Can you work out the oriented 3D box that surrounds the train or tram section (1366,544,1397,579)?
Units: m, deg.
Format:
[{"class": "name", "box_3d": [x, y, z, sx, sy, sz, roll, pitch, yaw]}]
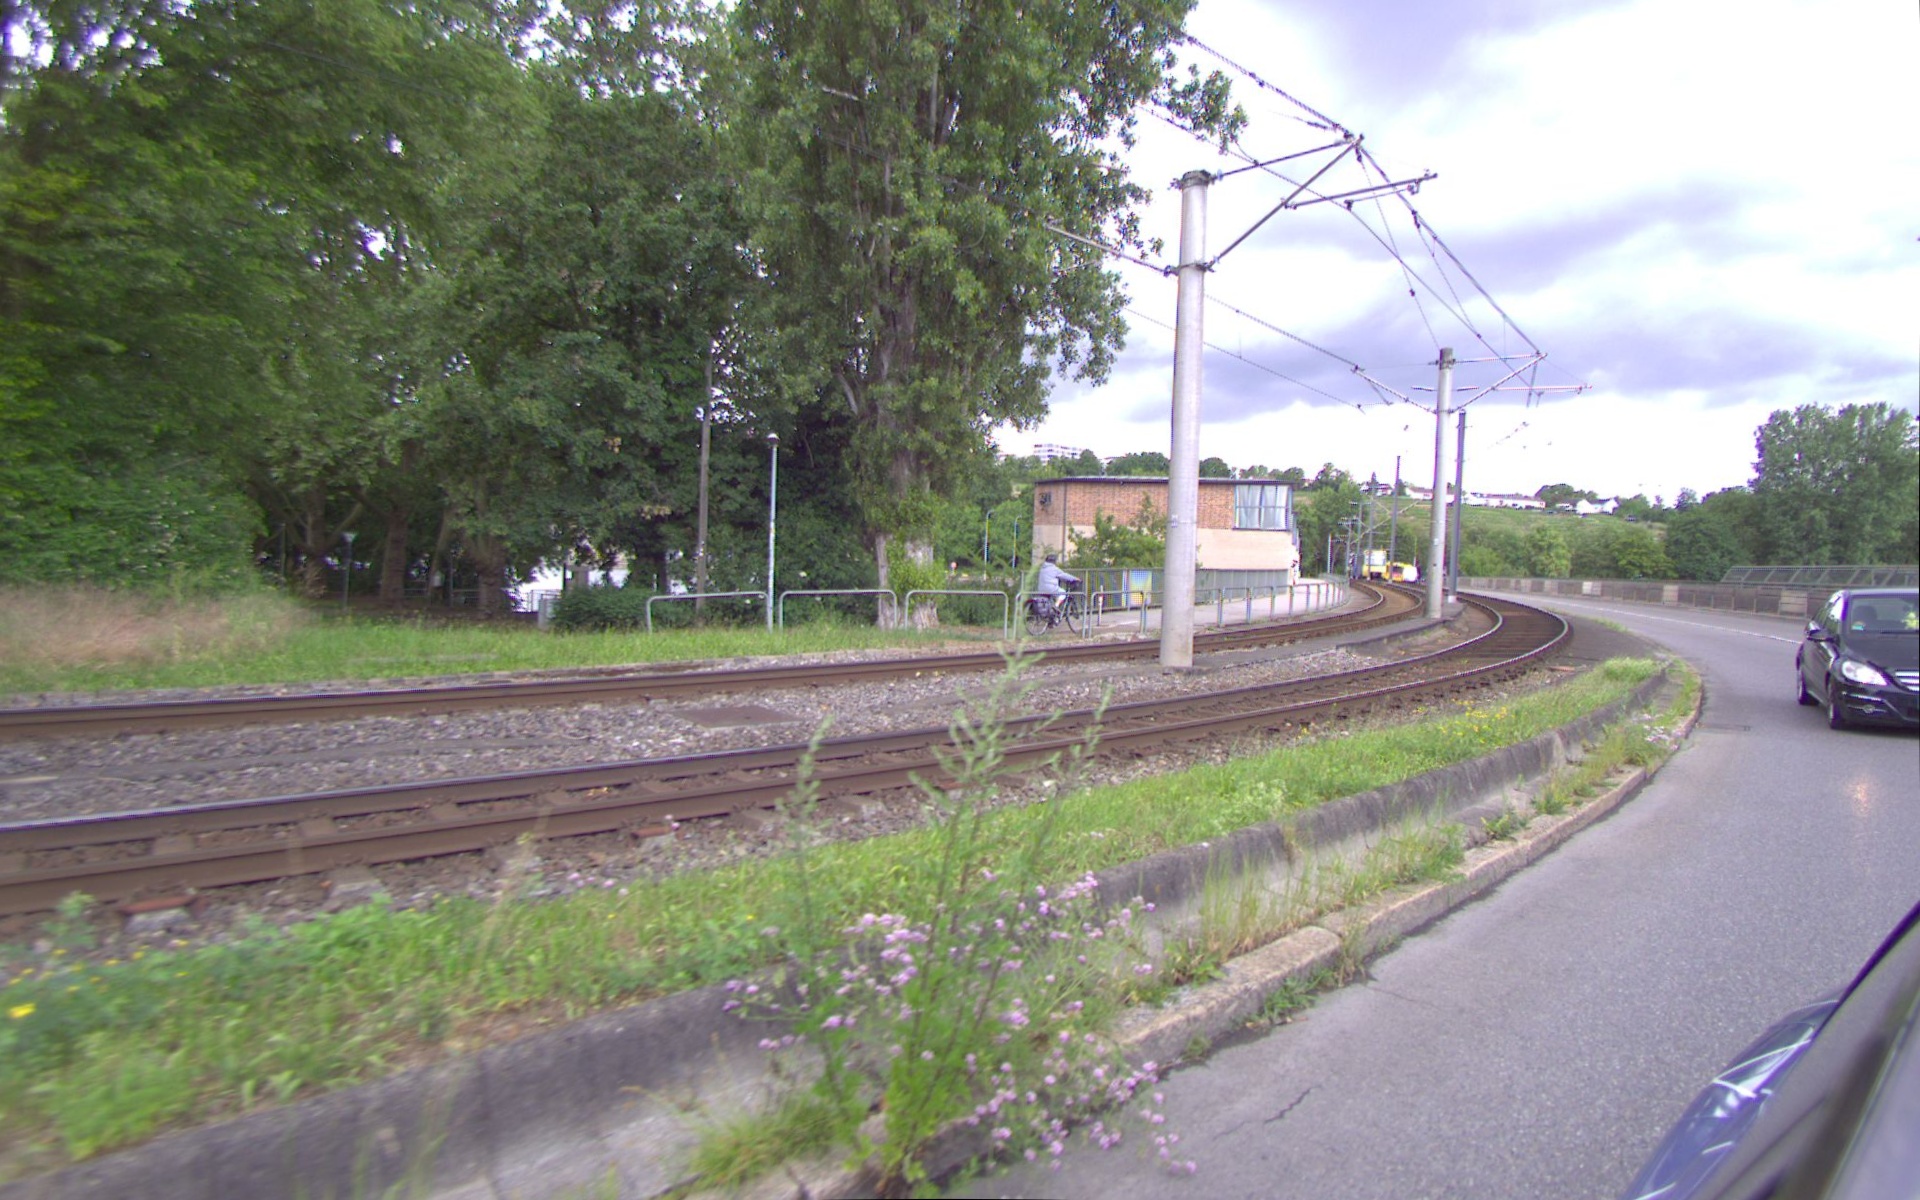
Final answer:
[{"class": "train or tram section", "box_3d": [50.094, -4.626, 120.484, 2.997, 3.966, 9.377, 3, 3, 21]}]

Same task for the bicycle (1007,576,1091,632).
[{"class": "bicycle", "box_3d": [1.814, 0.071, 20.444, 2.045, 1.063, 0.426, 0, 1, -44]}]

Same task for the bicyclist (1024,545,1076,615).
[{"class": "bicyclist", "box_3d": [1.819, -0.411, 20.427, 0.895, 1.377, 0.594, 0, 1, -42]}]

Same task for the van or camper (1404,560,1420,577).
[{"class": "van or camper", "box_3d": [68.816, -4.730, 154.034, 2.134, 2.506, 4.674, 1, 2, 24]}]

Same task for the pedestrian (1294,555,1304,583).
[{"class": "pedestrian", "box_3d": [21.058, -1.935, 62.925, 0.504, 1.685, 0.350, 2, 2, 15]}]

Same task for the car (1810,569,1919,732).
[{"class": "car", "box_3d": [11.245, 0.495, 11.804, 1.853, 1.641, 3.945, 3, 3, 38]}]

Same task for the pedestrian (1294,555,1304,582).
[{"class": "pedestrian", "box_3d": [20.960, -1.947, 62.547, 0.504, 1.685, 0.350, 2, 2, 15]}]

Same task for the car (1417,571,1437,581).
[{"class": "car", "box_3d": [77.015, -4.005, 166.939, 1.993, 1.593, 3.940, 3, 4, 42]}]
